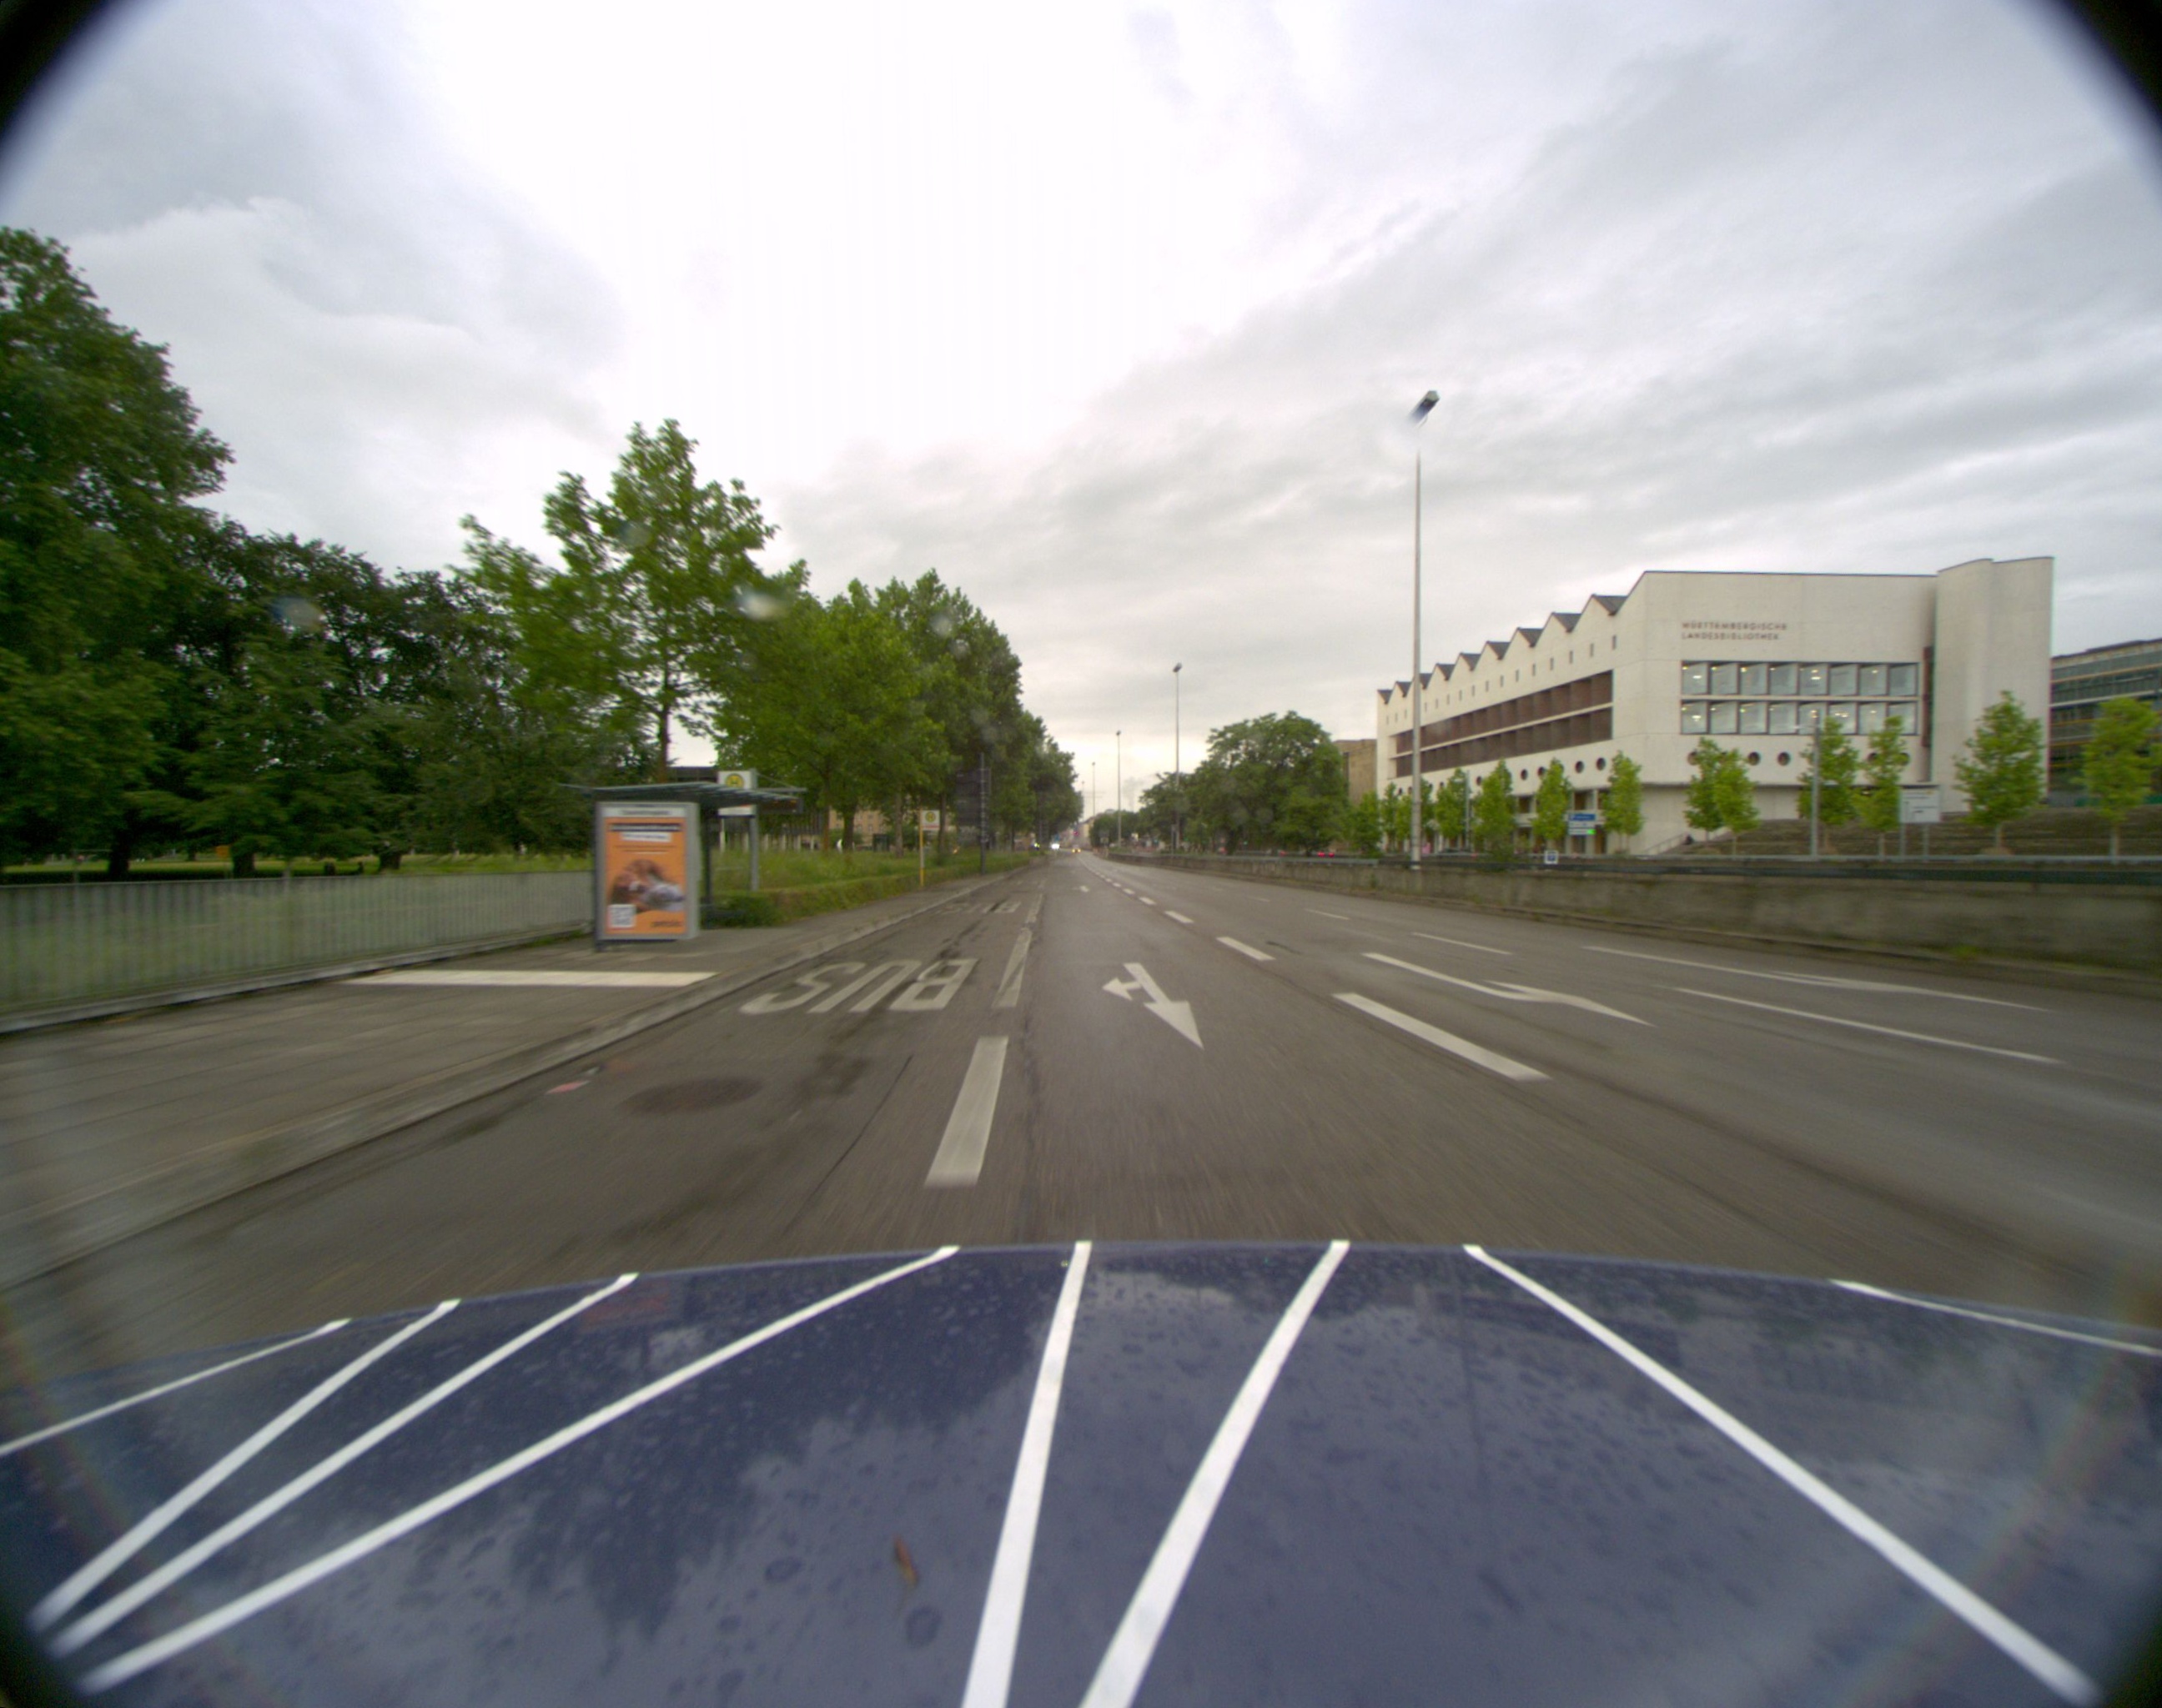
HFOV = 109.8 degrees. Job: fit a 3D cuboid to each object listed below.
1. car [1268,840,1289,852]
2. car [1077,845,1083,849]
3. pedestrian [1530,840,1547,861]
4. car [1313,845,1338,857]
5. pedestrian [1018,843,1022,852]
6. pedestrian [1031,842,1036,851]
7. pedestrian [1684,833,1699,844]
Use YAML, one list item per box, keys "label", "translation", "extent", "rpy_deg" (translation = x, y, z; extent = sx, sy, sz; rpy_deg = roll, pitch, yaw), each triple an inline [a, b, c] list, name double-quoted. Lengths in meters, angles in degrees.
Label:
- label: "car"
  translation: [27.224, -1.075, 104.676]
  extent: [1.699, 1.547, 3.473]
  rpy_deg: [-2, 1, -5]
- label: "car"
  translation: [-0.213, -1.800, 198.286]
  extent: [1.518, 1.138, 2.760]
  rpy_deg: [-2, 1, 1]
- label: "pedestrian"
  translation: [41.185, -0.338, 68.399]
  extent: [1.087, 1.856, 0.830]
  rpy_deg: [-1, 2, 8]
- label: "car"
  translation: [28.159, -0.378, 87.575]
  extent: [1.569, 1.220, 3.540]
  rpy_deg: [-2, 1, -1]
- label: "pedestrian"
  translation: [-11.727, -1.292, 146.549]
  extent: [0.671, 1.656, 0.587]
  rpy_deg: [0, 2, -18]
- label: "pedestrian"
  translation: [-9.274, -1.541, 148.732]
  extent: [0.596, 1.764, 0.586]
  rpy_deg: [-3, 2, -28]
- label: "pedestrian"
  translation: [51.312, -1.272, 63.863]
  extent: [0.809, 0.882, 0.628]
  rpy_deg: [-2, 2, -1]
